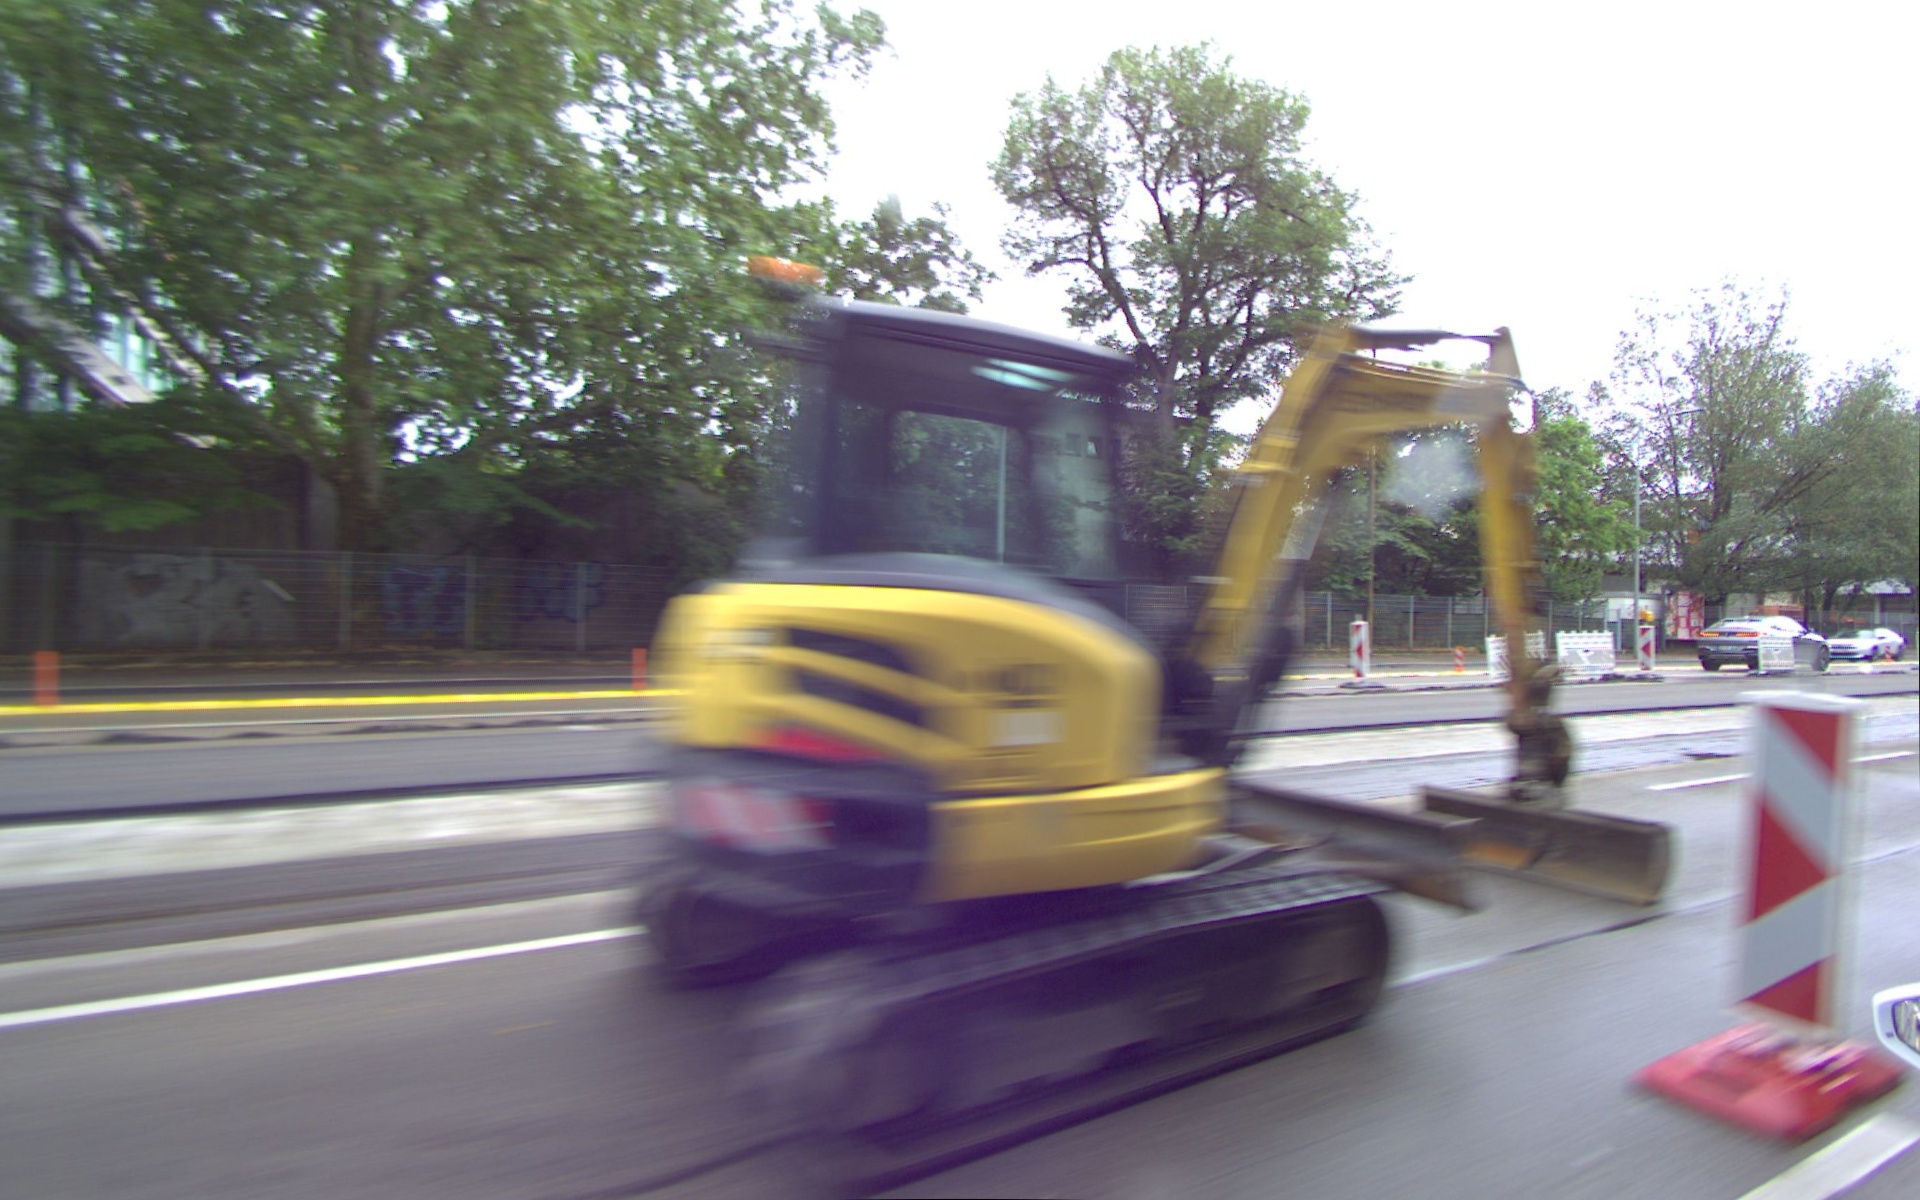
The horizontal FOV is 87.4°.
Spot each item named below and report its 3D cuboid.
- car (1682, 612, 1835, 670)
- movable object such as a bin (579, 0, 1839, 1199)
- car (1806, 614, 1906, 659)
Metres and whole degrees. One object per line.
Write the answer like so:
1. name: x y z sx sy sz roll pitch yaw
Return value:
1. car: 24.781 1.267 31.130 4.998 1.634 2.066 2 0 -31
2. movable object such as a bin: 1.542 -0.193 4.666 5.911 3.412 1.984 2 0 -30
3. car: 38.434 1.573 43.081 4.228 1.790 1.984 2 0 -30
